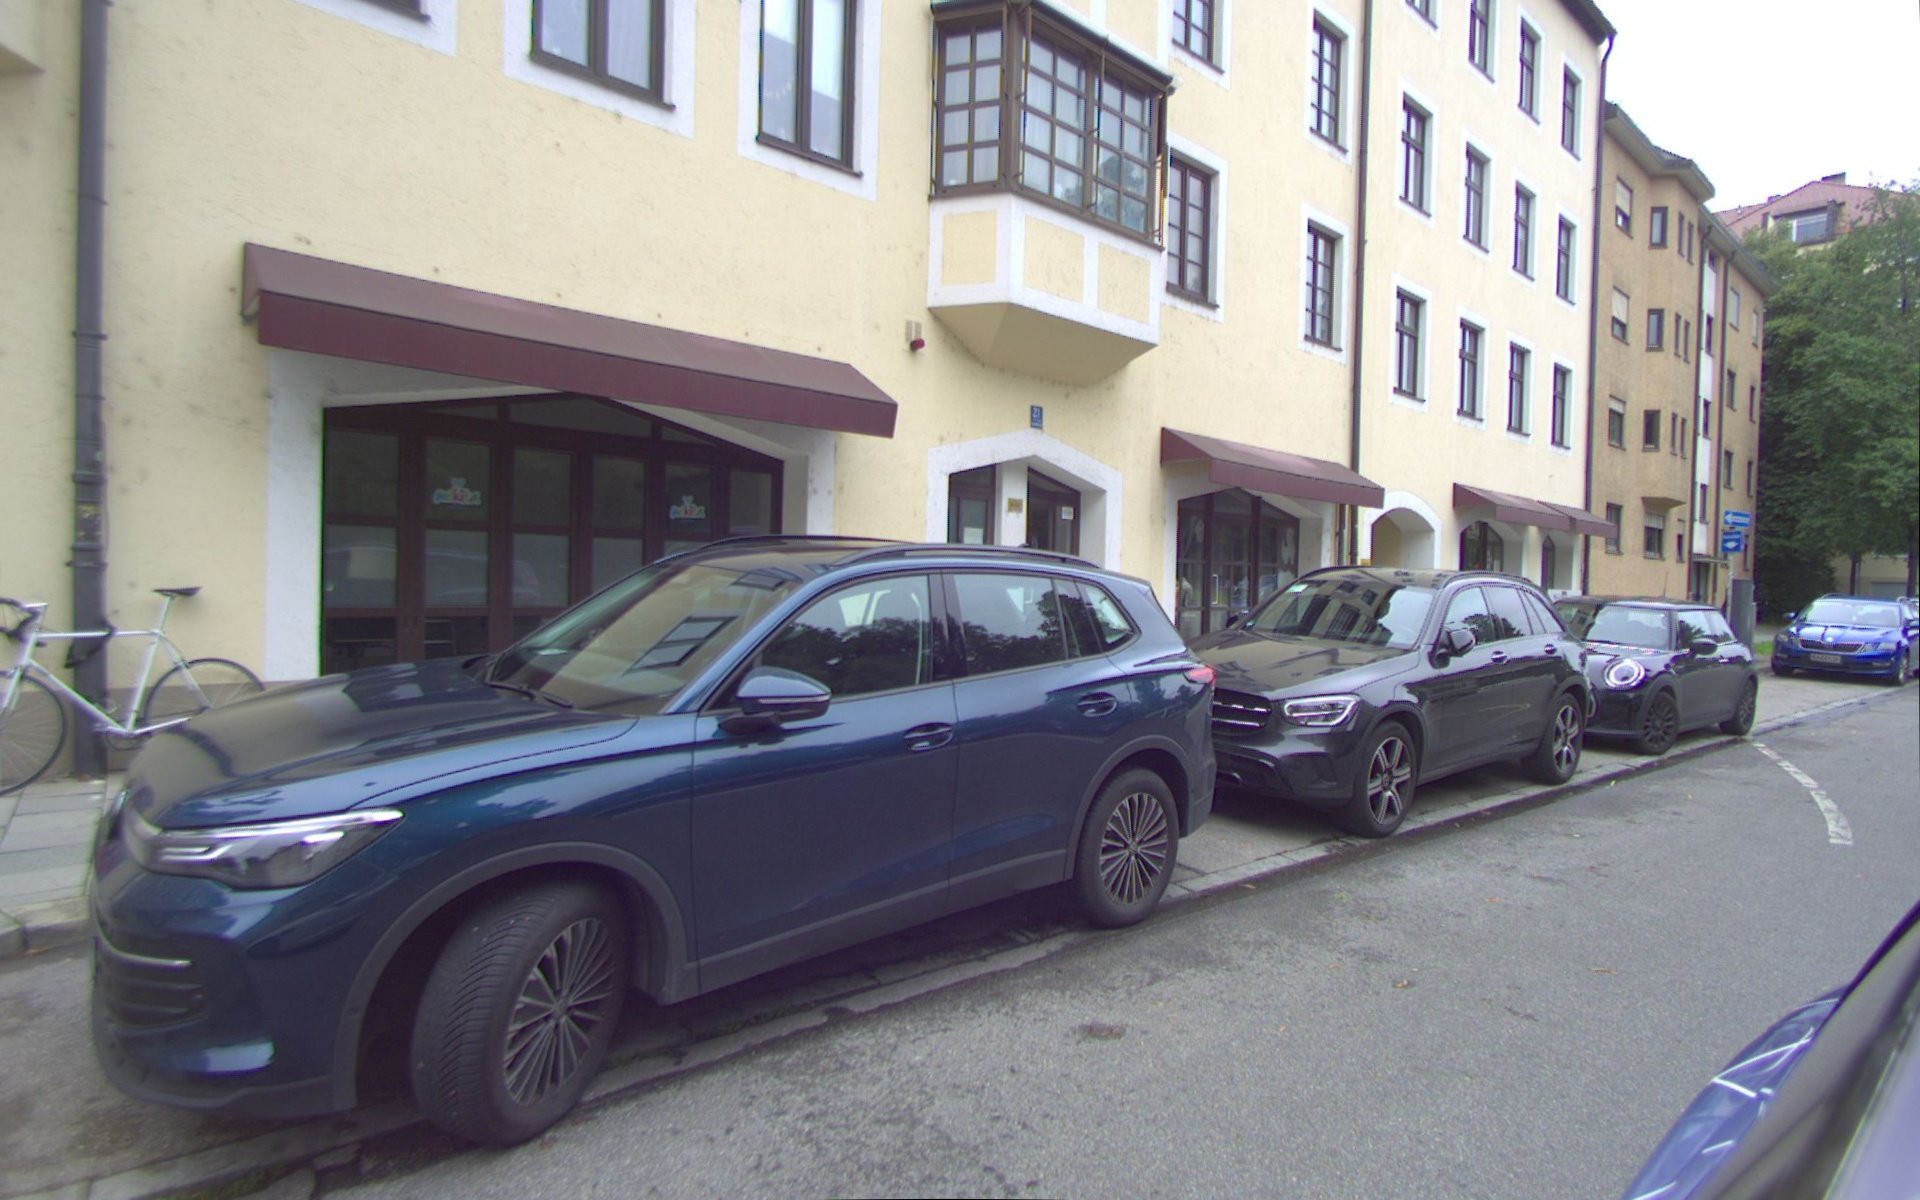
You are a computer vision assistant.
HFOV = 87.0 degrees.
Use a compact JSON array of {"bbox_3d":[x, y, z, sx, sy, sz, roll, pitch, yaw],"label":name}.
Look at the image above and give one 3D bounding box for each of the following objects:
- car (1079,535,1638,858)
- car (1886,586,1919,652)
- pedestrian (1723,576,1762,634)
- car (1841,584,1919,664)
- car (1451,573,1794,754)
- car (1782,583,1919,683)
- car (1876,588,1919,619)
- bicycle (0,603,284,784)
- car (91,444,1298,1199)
[{"bbox_3d":[3.152,0.465,7.481,4.622,1.700,1.761,0,3,-39],"label":"car"},{"bbox_3d":[24.219,0.470,24.832,3.718,1.514,1.632,0,3,-39],"label":"car"},{"bbox_3d":[22.941,0.135,29.676,0.962,1.644,0.672,-1,2,-38],"label":"pedestrian"},{"bbox_3d":[20.225,0.472,21.373,4.354,1.514,1.695,0,3,-39],"label":"car"},{"bbox_3d":[7.012,0.540,10.618,3.751,1.514,1.763,0,3,-36],"label":"car"},{"bbox_3d":[16.490,0.508,18.173,4.406,1.514,1.761,0,3,-39],"label":"car"},{"bbox_3d":[48.188,0.170,51.474,4.174,1.485,2.050,0,2,-43],"label":"car"},{"bbox_3d":[-5.012,0.516,5.995,1.656,0.990,0.271,0,0,-43],"label":"bicycle"},{"bbox_3d":[-0.635,0.488,4.150,4.432,1.700,1.822,0,3,-42],"label":"car"}]
